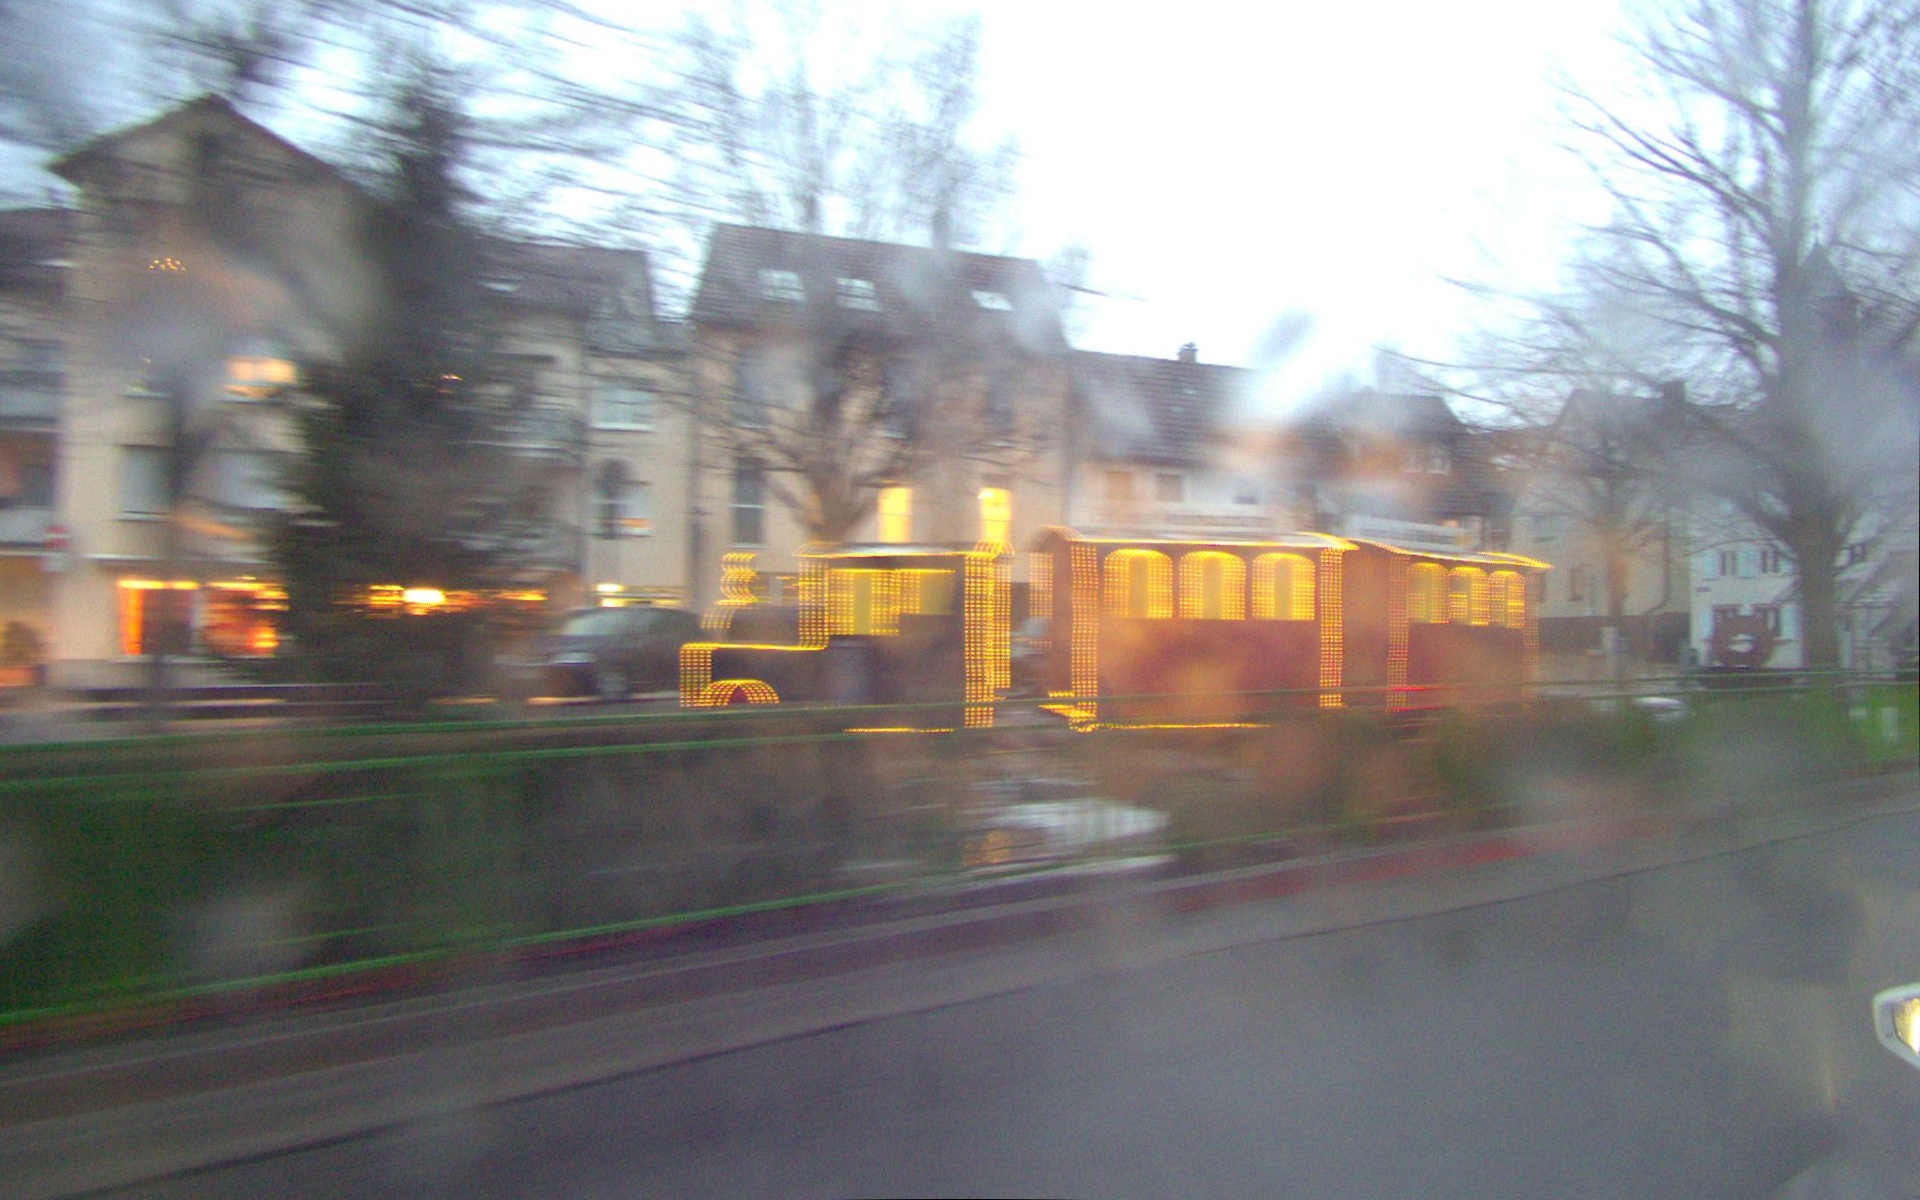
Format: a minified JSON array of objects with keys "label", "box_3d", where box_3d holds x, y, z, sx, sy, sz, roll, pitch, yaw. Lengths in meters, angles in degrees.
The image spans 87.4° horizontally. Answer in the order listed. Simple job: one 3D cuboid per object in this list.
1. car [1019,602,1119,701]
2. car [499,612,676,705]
[{"label":"car","box_3d":[2.102,0.874,18.613,1.577,1.633,3.637,1,0,10]},{"label":"car","box_3d":[-5.898,0.877,16.310,1.582,1.346,3.327,0,-1,1]}]
